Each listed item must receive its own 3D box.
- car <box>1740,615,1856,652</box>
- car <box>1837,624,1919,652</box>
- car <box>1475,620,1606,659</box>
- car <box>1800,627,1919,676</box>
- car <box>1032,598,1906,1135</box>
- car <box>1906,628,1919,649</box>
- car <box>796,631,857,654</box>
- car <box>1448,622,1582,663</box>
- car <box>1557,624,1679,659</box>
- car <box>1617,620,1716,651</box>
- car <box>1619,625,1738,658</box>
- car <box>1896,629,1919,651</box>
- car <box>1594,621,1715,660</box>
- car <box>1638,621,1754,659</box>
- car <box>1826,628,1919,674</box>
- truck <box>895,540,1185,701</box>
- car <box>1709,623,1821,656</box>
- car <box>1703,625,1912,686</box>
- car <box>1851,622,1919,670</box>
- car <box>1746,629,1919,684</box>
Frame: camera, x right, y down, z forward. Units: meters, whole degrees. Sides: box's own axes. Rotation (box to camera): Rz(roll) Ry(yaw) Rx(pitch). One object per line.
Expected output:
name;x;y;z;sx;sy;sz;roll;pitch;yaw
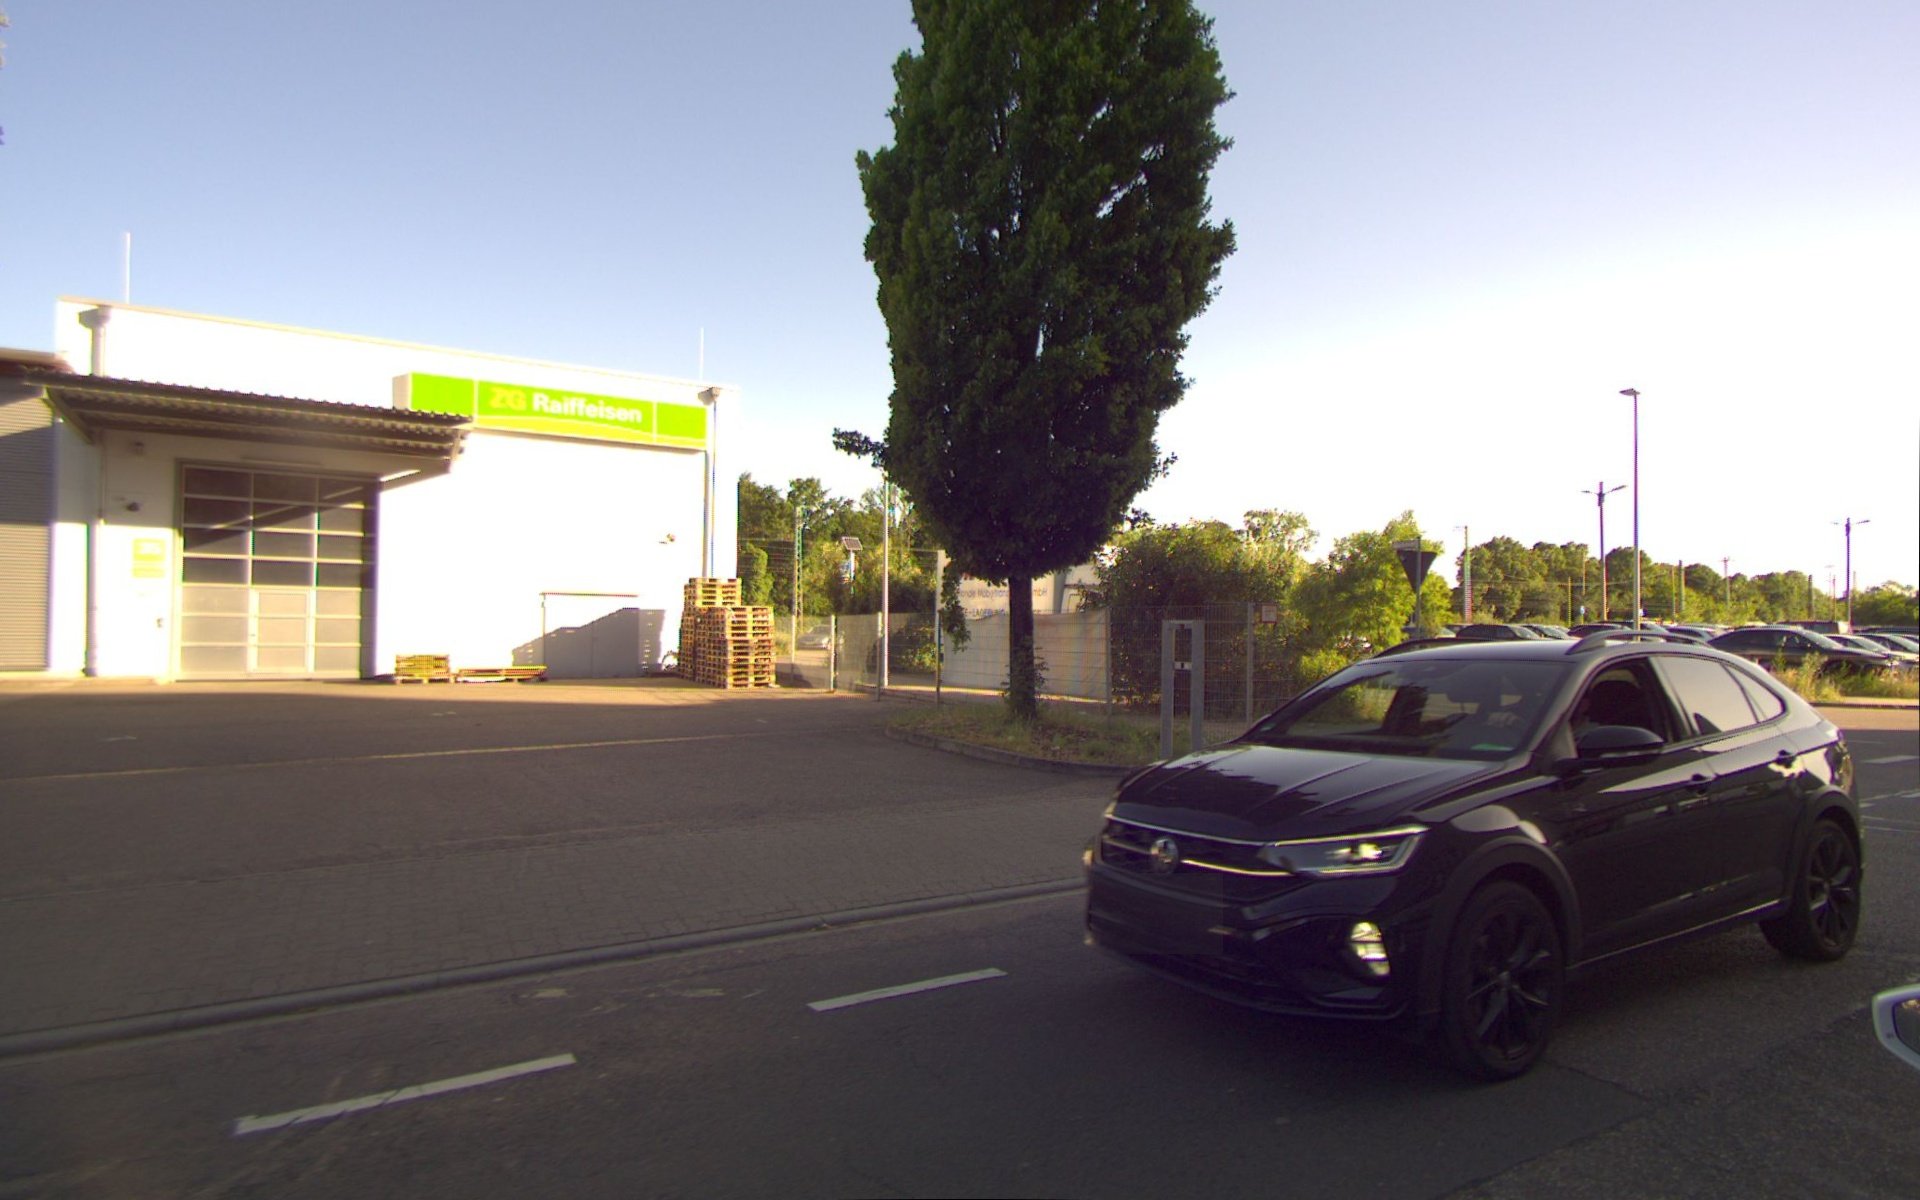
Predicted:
car;45.953;1.820;55.194;1.834;1.829;4.556;1;0;-28
car;57.227;2.322;61.969;1.855;1.544;4.303;1;0;-28
car;24.558;1.654;42.637;2.027;1.484;4.377;2;-1;-33
car;30.861;1.680;33.148;2.023;1.481;4.410;1;-1;-28
car;2.506;0.870;4.729;4.064;1.545;1.733;1;-4;-31
car;68.328;2.714;69.198;1.856;1.438;4.301;1;0;-30
car;-7.813;2.459;59.196;1.670;1.231;4.423;1;-1;20
car;22.473;1.672;40.829;2.027;1.484;4.377;2;-1;-33
car;29.418;1.838;44.993;2.027;1.416;4.136;2;-1;-33
car;41.135;2.039;58.606;1.834;1.566;4.348;1;0;-28
car;33.943;1.923;47.524;2.027;1.416;4.136;2;-1;-33
car;66.042;2.762;67.458;1.856;1.438;4.301;1;0;-30
car;31.904;1.830;46.225;2.027;1.599;4.136;1;-1;-33
car;35.776;1.924;48.926;1.945;1.684;4.137;1;-1;-32
car;32.995;1.777;34.573;2.023;1.481;4.410;1;-1;-28
truck;1.694;0.462;27.951;2.744;3.662;10.049;2;0;-30
car;43.625;2.098;54.538;1.834;1.566;4.348;1;0;-28
car;25.462;1.618;30.366;2.023;1.601;4.410;1;-1;-28
car;35.404;1.681;36.294;2.023;1.692;4.410;1;-1;-28
car;27.949;1.730;31.796;2.023;1.481;4.410;1;-1;-28
